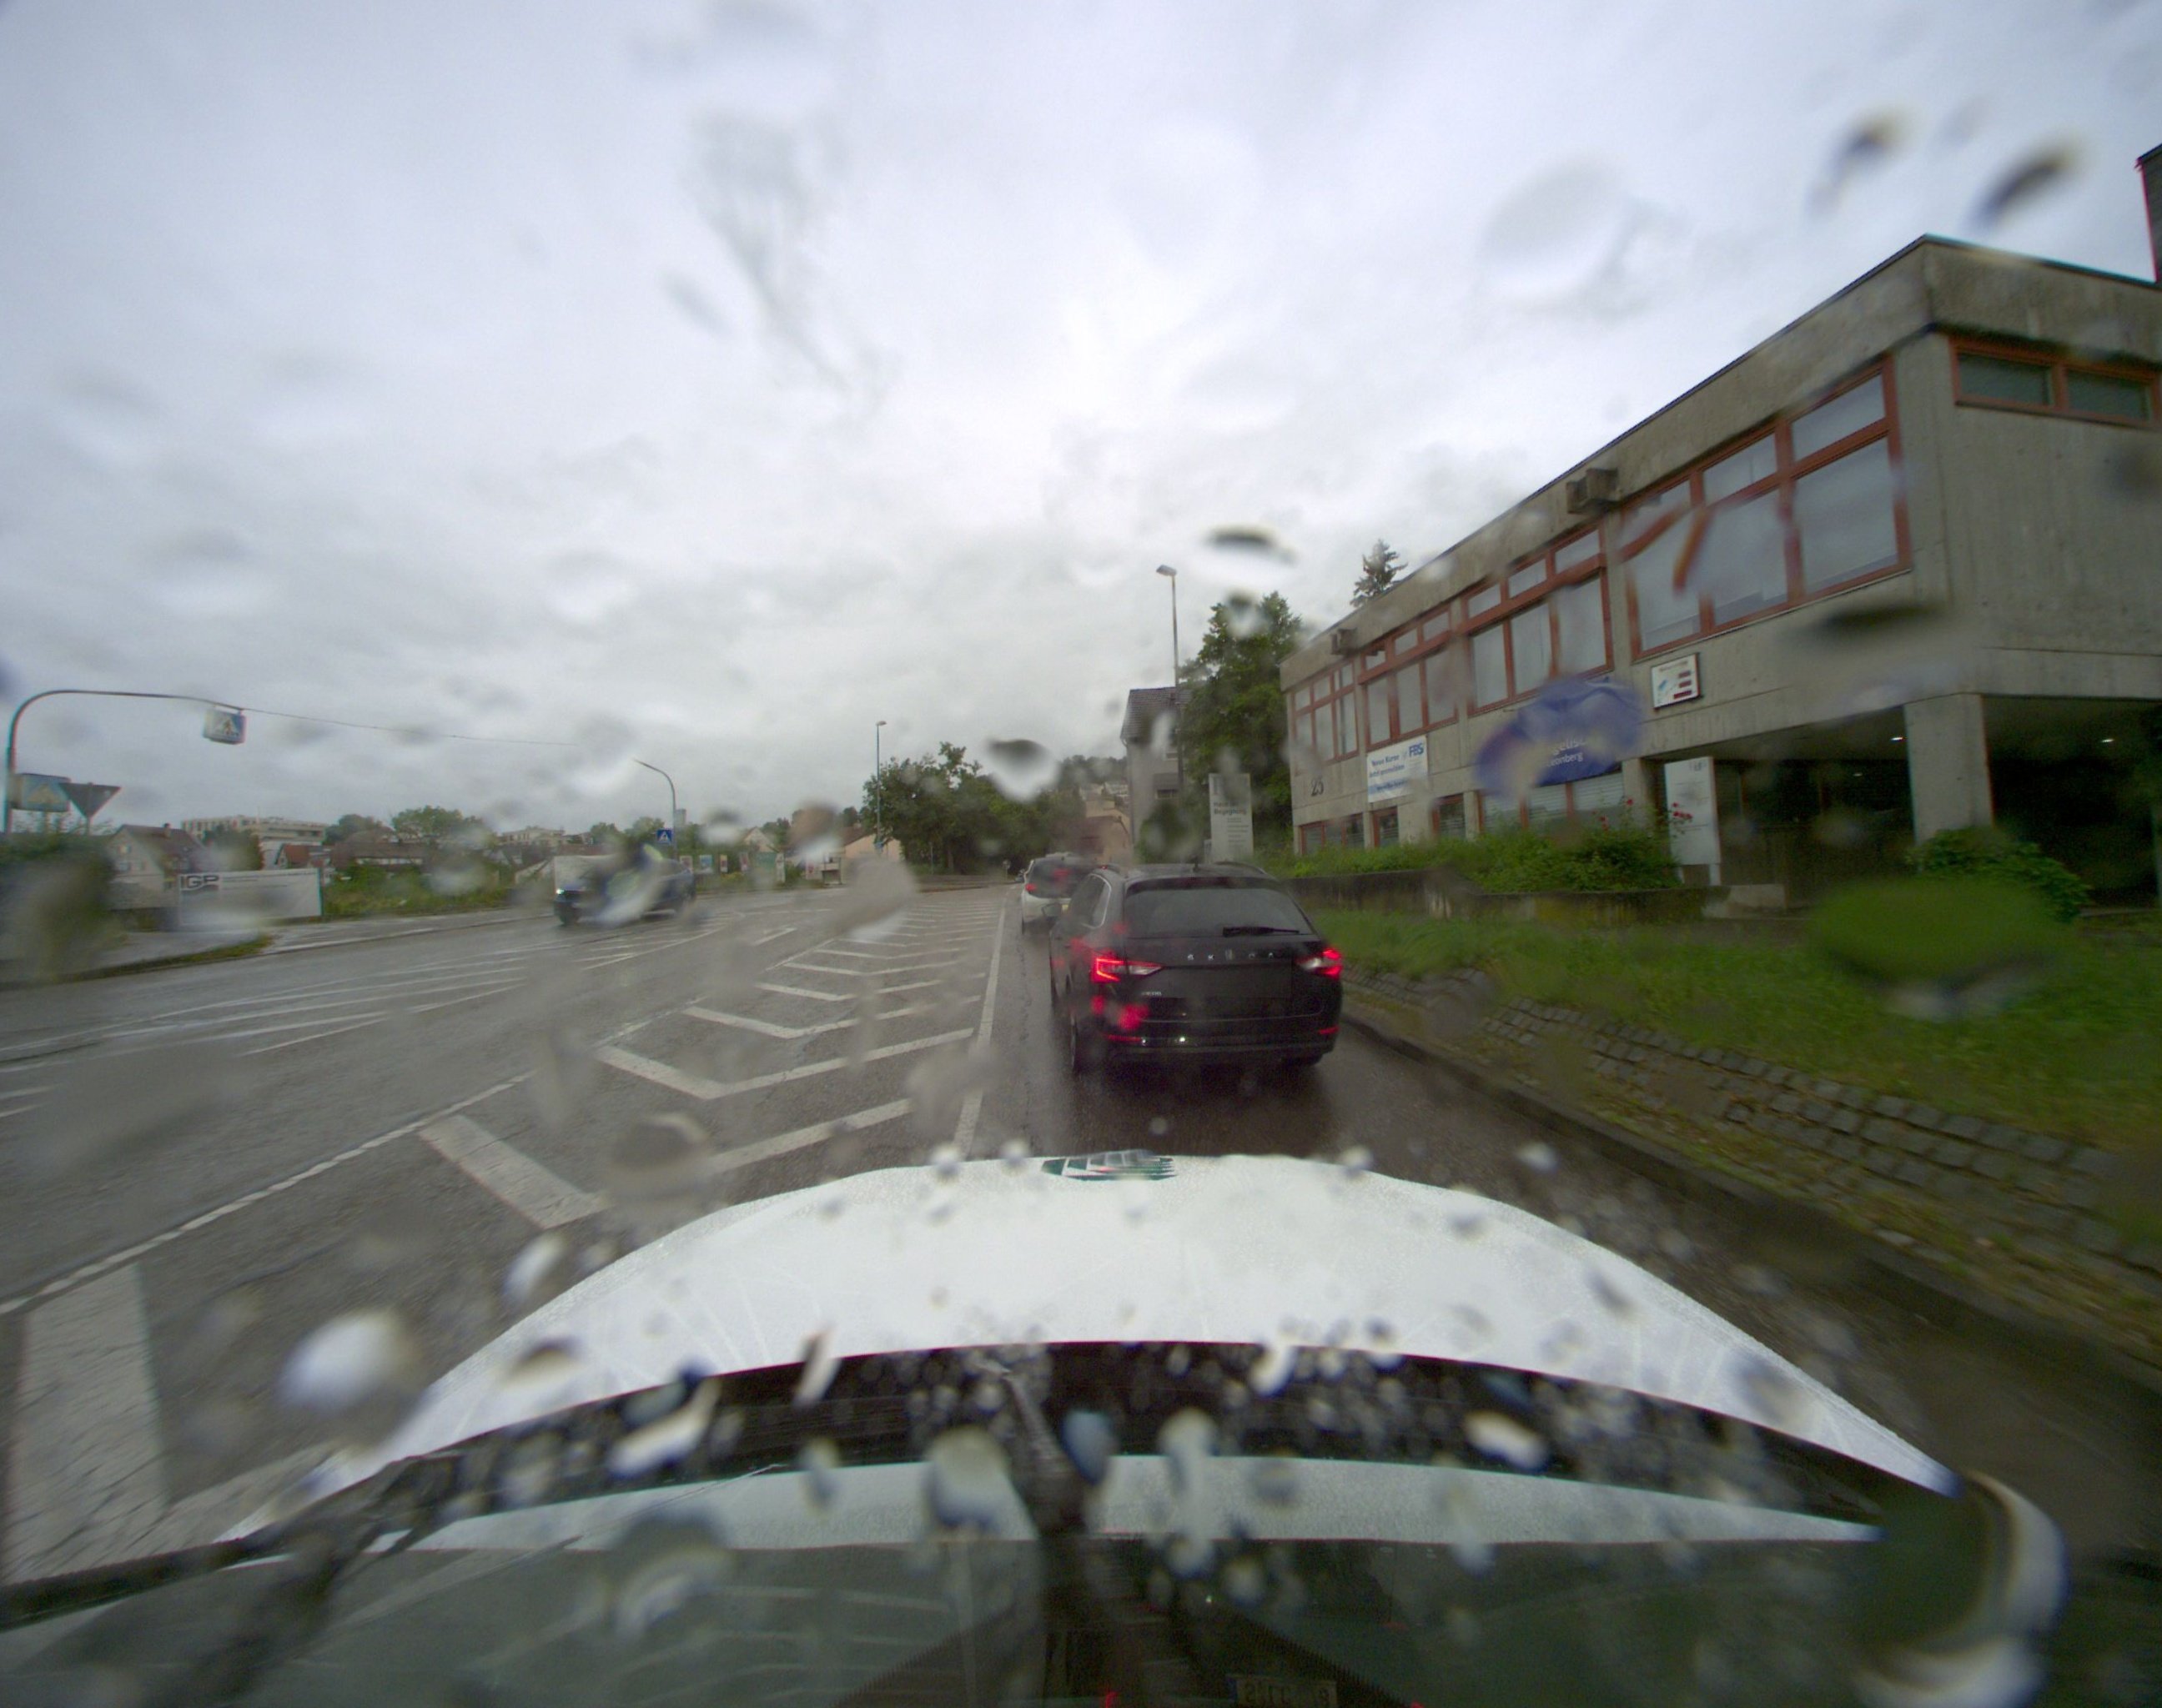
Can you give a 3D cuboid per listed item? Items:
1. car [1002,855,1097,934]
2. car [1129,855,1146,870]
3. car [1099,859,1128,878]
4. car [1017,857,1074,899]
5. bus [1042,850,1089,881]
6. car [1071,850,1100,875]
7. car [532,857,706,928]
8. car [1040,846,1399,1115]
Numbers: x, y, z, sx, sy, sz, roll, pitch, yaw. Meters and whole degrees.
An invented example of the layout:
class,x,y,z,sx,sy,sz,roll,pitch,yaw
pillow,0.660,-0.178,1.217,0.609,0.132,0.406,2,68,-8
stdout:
class,x,y,z,sx,sy,sz,roll,pitch,yaw
car,-0.627,0.833,17.971,1.823,1.500,4.166,-1,-1,-1
car,7.880,1.255,113.944,1.989,2.014,3.994,0,-2,-3
car,2.895,1.275,71.086,1.982,1.453,3.780,-4,-1,9
car,-1.377,0.878,30.057,1.846,1.410,4.292,-1,-1,-6
bus,-1.386,1.031,77.399,2.379,2.676,7.076,-2,0,15
car,0.333,0.542,54.546,1.560,1.530,4.005,-2,0,4
car,-12.163,0.979,21.893,1.987,1.693,4.703,0,-2,-1
car,0.707,0.772,6.970,1.951,1.507,4.600,1,-1,-5
